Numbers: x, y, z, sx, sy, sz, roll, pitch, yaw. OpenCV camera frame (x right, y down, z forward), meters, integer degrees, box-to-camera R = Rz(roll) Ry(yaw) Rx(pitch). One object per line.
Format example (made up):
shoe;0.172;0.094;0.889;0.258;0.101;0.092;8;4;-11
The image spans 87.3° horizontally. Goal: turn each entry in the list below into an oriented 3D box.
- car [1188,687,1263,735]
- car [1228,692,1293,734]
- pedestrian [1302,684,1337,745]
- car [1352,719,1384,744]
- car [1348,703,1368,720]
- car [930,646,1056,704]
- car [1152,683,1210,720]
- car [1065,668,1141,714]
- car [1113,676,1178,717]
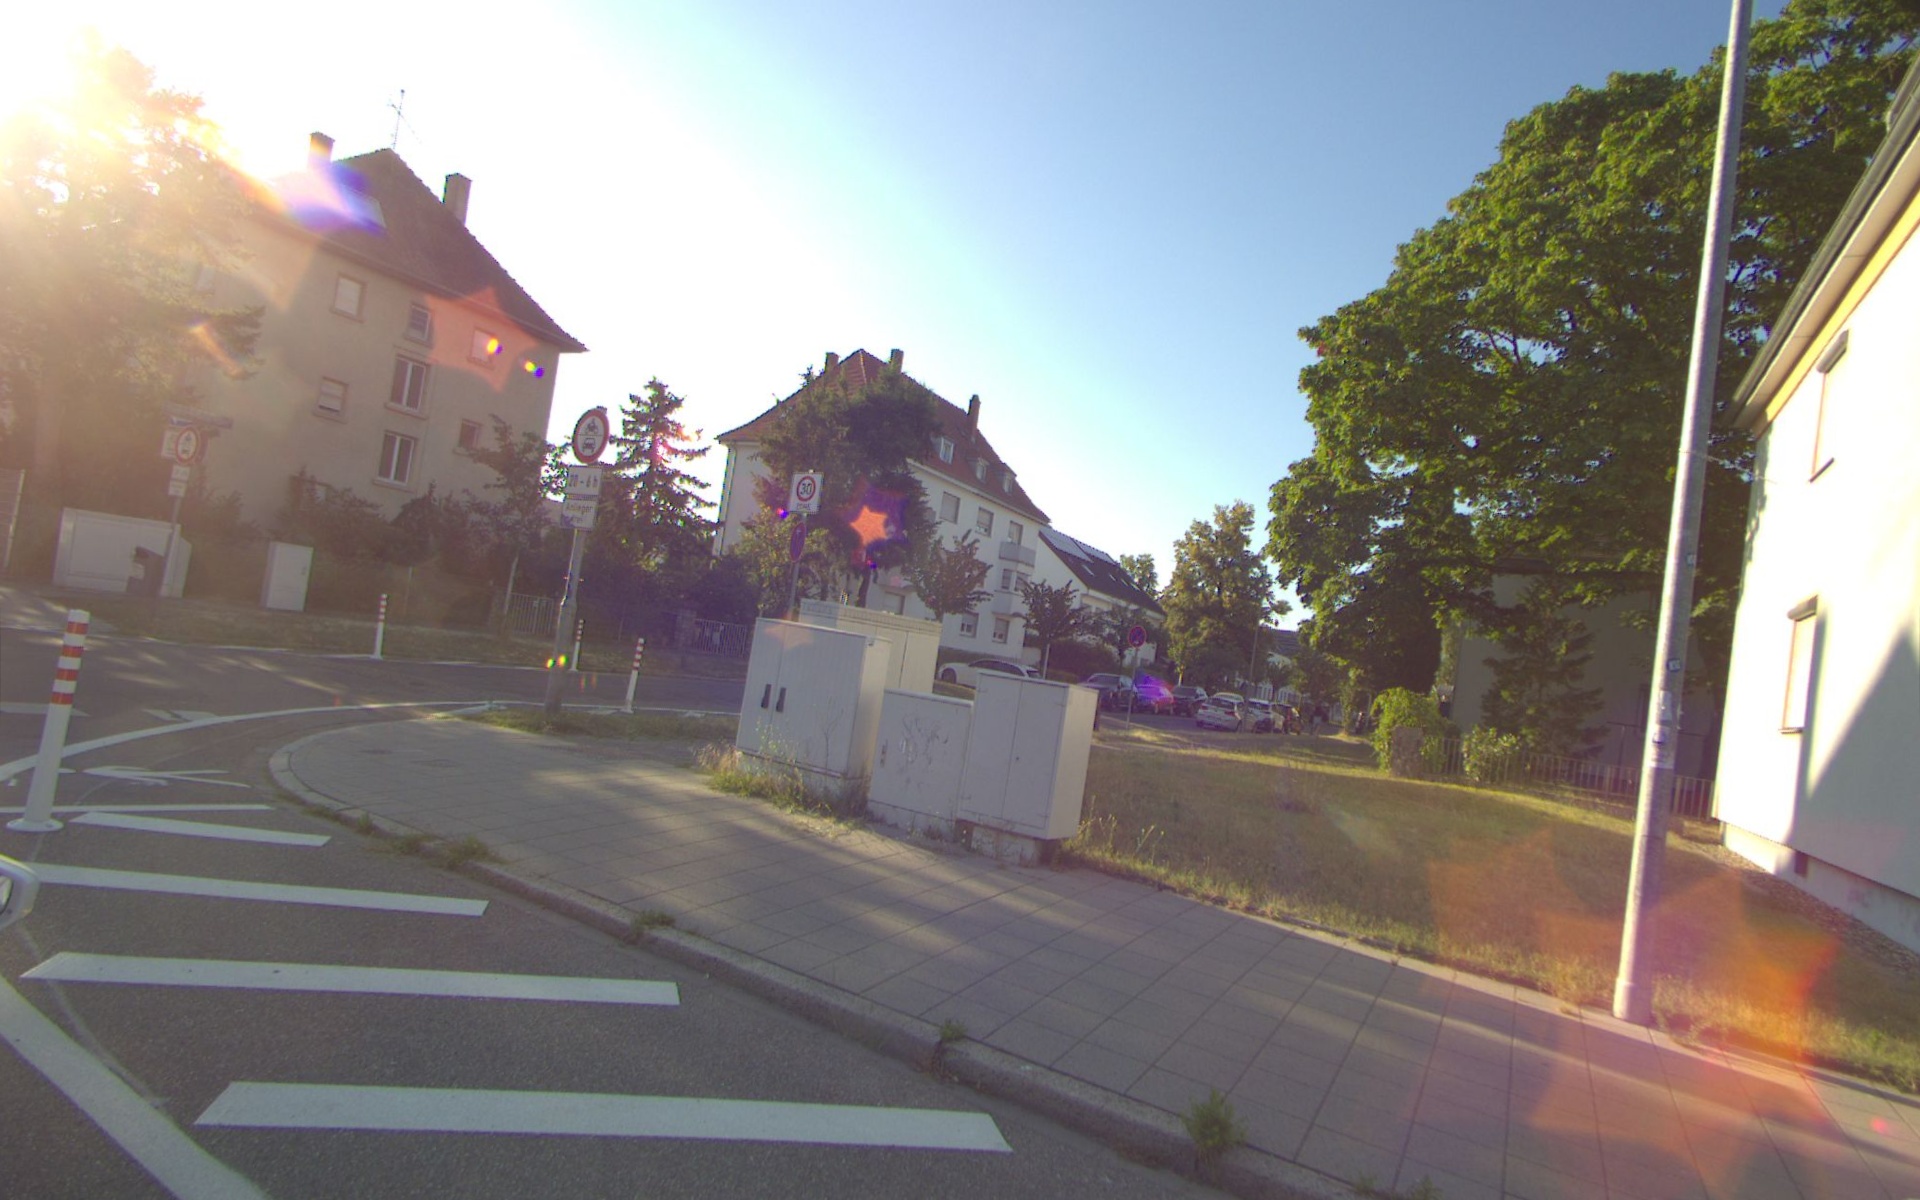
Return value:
car;11.293;4.732;42.607;1.938;1.631;4.246;7;-3;29
car;14.246;5.373;47.596;1.938;1.631;4.246;7;-3;29
pedestrian;12.844;4.081;35.965;0.883;2.036;0.693;7;-2;27
car;33.198;10.676;81.844;1.937;1.631;4.249;7;-3;26
car;51.945;14.547;131.143;1.937;1.794;4.249;7;-3;26
car;1.364;3.146;42.250;4.754;1.631;1.972;8;-2;29
car;12.048;5.560;54.642;1.937;1.631;4.249;7;-3;26
car;6.330;4.023;44.258;1.937;1.631;4.249;7;-3;26
car;9.265;4.806;49.920;1.937;1.631;4.249;7;-3;26
